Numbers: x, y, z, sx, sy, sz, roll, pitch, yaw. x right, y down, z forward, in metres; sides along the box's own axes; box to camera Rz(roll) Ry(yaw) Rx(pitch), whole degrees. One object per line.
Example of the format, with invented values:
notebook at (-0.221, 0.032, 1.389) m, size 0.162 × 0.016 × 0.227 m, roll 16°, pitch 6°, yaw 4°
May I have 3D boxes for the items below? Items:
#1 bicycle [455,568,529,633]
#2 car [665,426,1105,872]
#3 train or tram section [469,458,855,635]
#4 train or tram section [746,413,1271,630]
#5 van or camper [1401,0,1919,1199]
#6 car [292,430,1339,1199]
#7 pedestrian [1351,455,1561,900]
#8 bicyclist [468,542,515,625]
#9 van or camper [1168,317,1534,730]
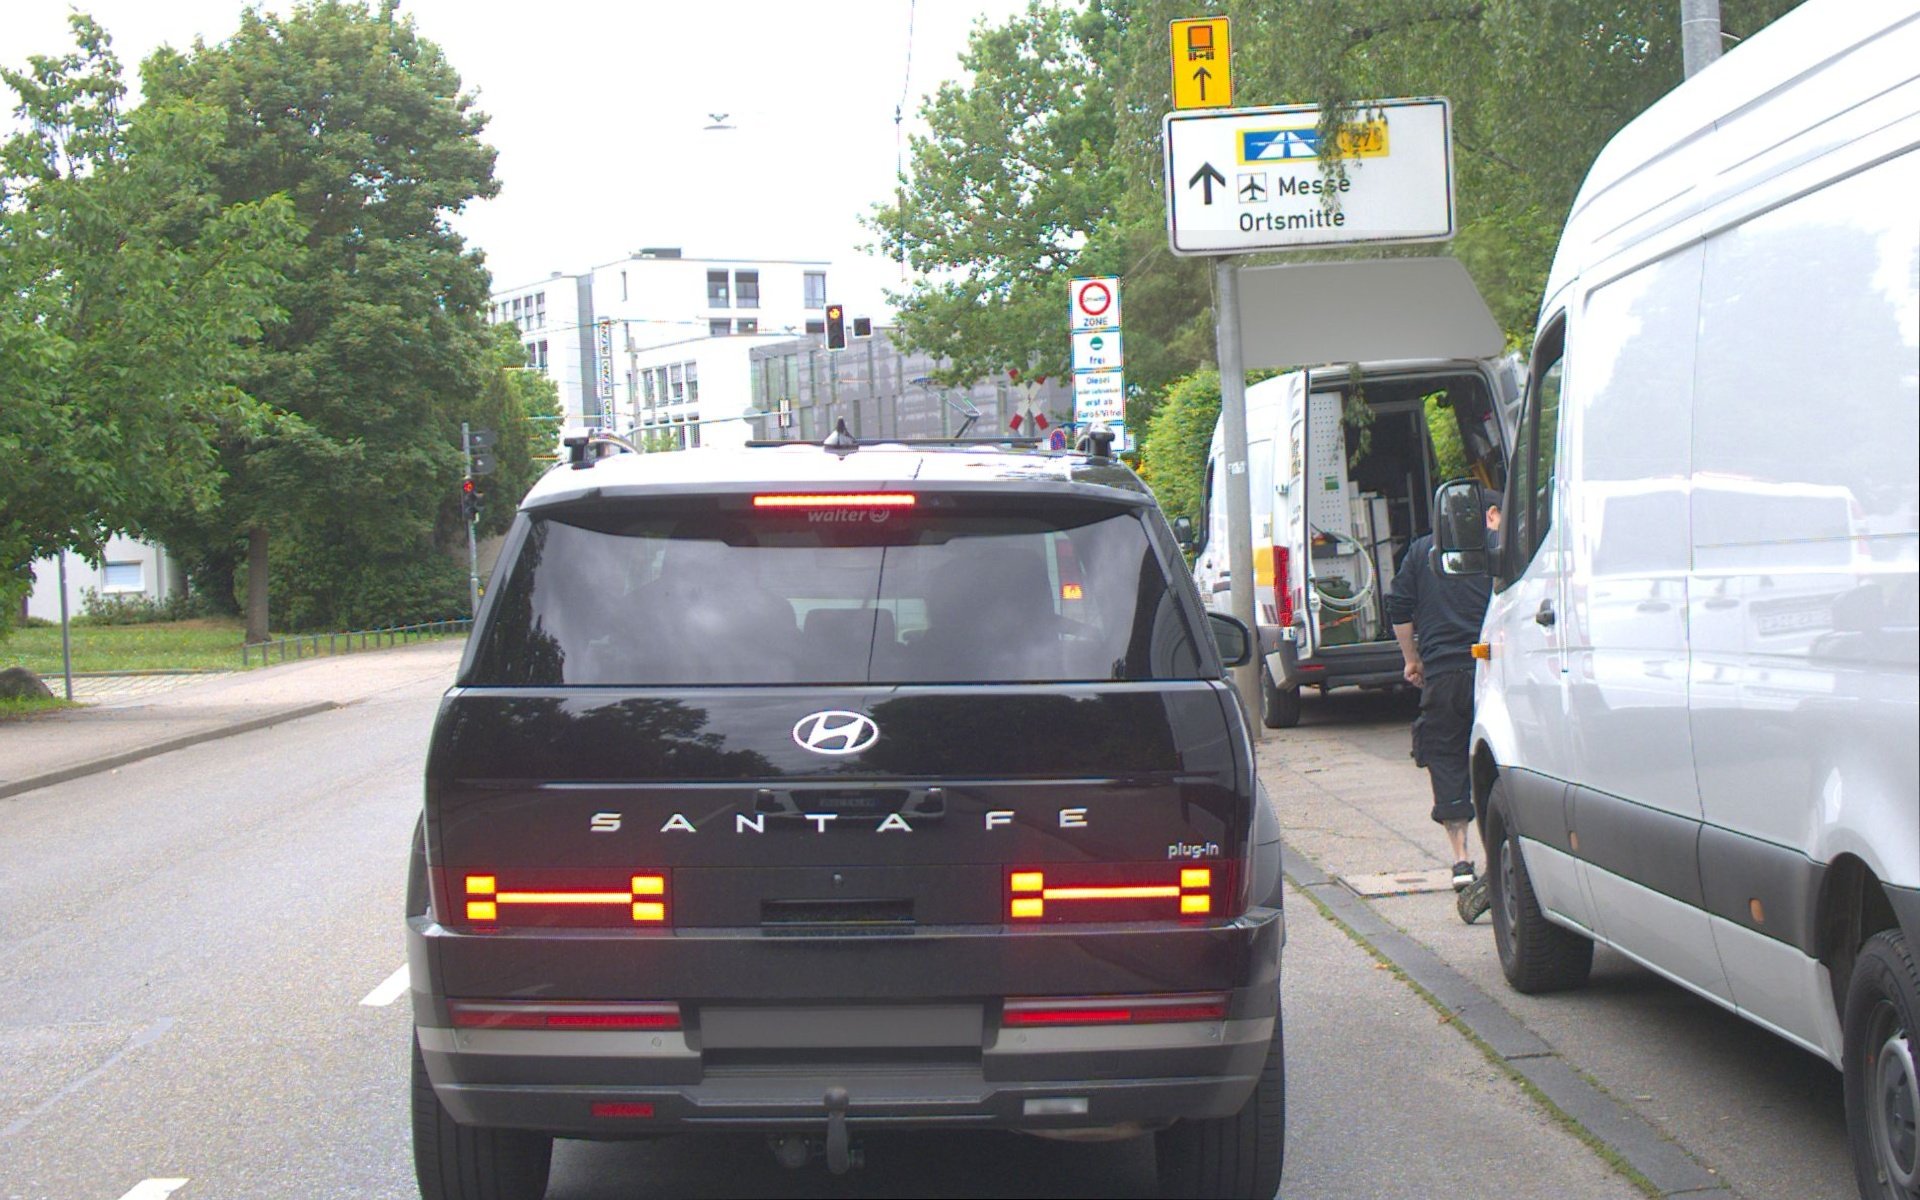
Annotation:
bicycle at (-9.520, 0.013, 69.853) m, size 0.675 × 1.275 × 2.501 m, roll 0°, pitch -1°, yaw -28°
car at (-0.388, 0.189, 17.591) m, size 1.963 × 1.994 × 4.000 m, roll -1°, pitch 1°, yaw -1°
train or tram section at (-8.994, -1.327, 99.086) m, size 3.193 × 4.507 × 18.683 m, roll 0°, pitch -1°, yaw -31°
train or tram section at (0.626, -1.635, 83.059) m, size 3.193 × 4.507 × 18.683 m, roll 0°, pitch -1°, yaw -31°
van or camper at (2.590, -0.070, 8.062) m, size 1.963 × 2.619 × 6.359 m, roll -4°, pitch 1°, yaw -1°
car at (-0.317, 0.511, 8.519) m, size 1.963 × 1.705 × 4.000 m, roll -1°, pitch 1°, yaw -1°
pedestrian at (2.002, 0.309, 13.857) m, size 0.604 × 1.737 × 0.618 m, roll -1°, pitch -1°, yaw 34°
bicyclist at (-9.530, -0.329, 69.880) m, size 0.675 × 1.653 × 0.858 m, roll 0°, pitch -1°, yaw -28°
van or camper at (2.918, -0.581, 26.887) m, size 1.963 × 2.787 × 5.287 m, roll -4°, pitch 1°, yaw -1°
